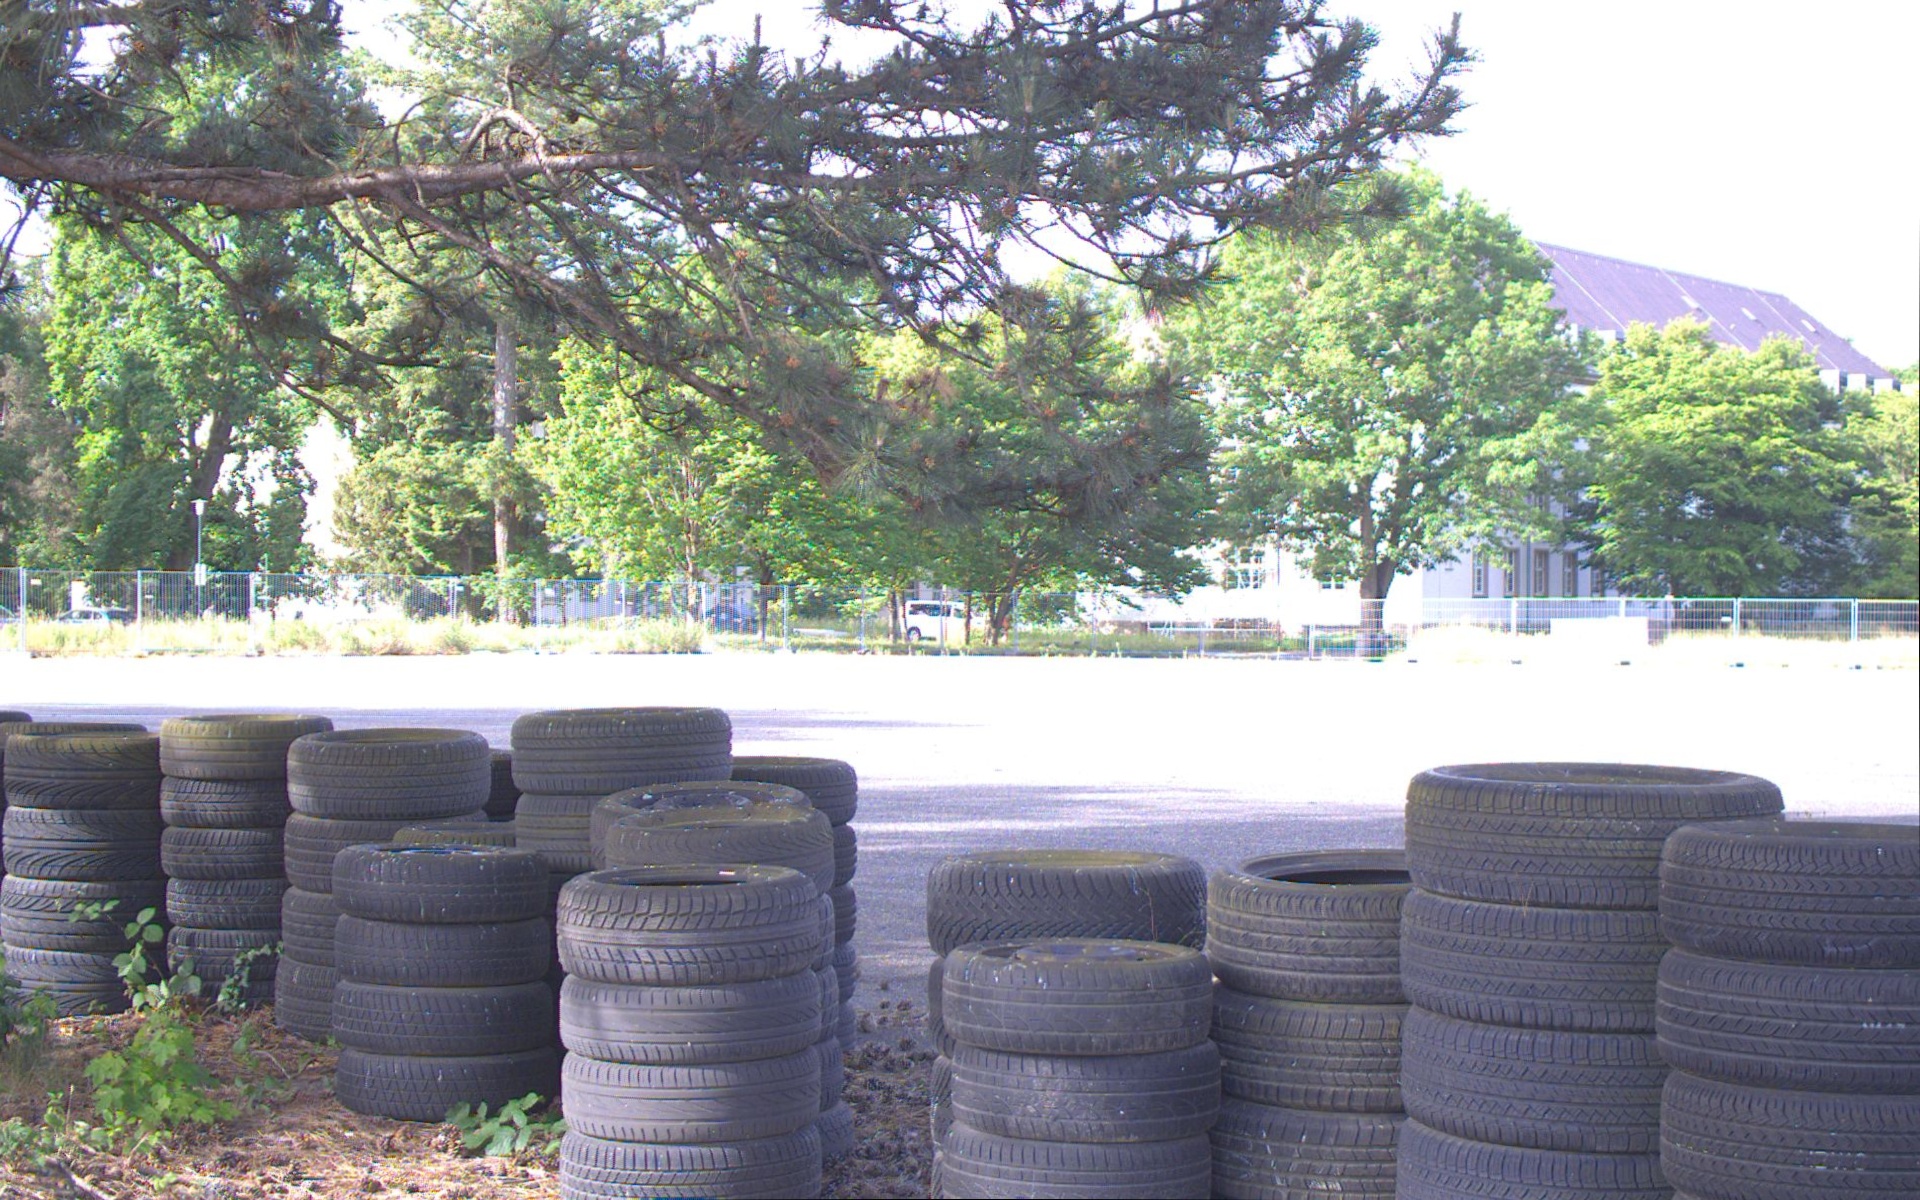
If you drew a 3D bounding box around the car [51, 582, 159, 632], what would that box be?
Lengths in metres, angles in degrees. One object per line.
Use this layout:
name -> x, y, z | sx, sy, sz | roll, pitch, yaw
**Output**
car -> -30.681, 0.237, 123.310 | 3.997, 1.744, 1.995 | 1, 0, 45
